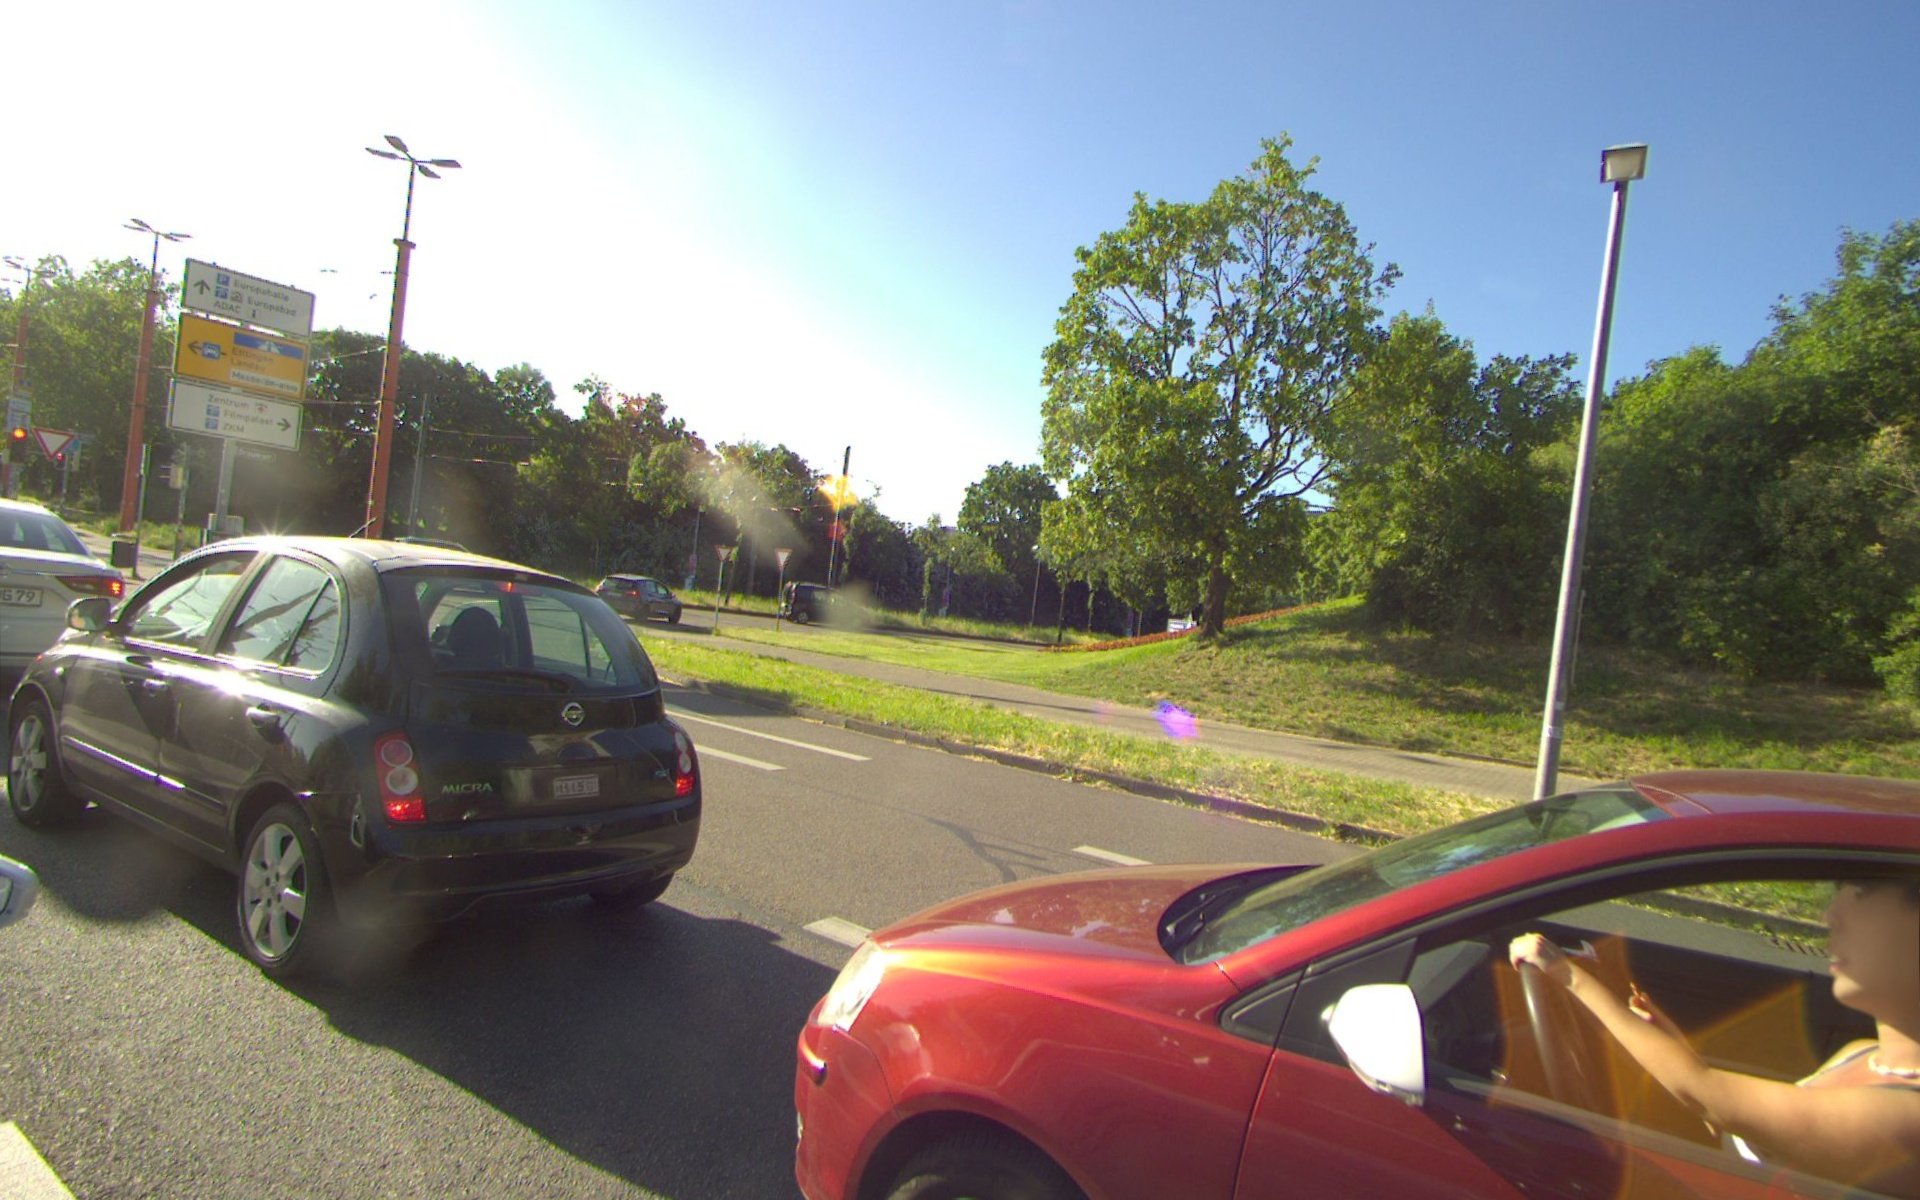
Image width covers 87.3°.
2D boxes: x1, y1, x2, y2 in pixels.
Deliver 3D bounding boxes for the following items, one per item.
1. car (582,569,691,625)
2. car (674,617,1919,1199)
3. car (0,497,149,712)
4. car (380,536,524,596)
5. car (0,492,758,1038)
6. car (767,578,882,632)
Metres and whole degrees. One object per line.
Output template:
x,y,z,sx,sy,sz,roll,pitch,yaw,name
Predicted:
-10.544,-0.056,33.094,1.718,1.486,3.895,7,-1,8,car
1.369,0.991,1.898,3.634,1.434,1.624,7,-1,34,car
-8.348,-0.163,7.982,4.077,1.472,1.717,7,-1,33,car
-19.491,-1.302,38.728,4.742,1.617,1.900,8,-1,-29,car
-2.823,0.465,4.629,3.457,1.524,1.558,7,0,32,car
-6.258,0.235,46.584,4.742,1.858,1.901,8,-1,-28,car
